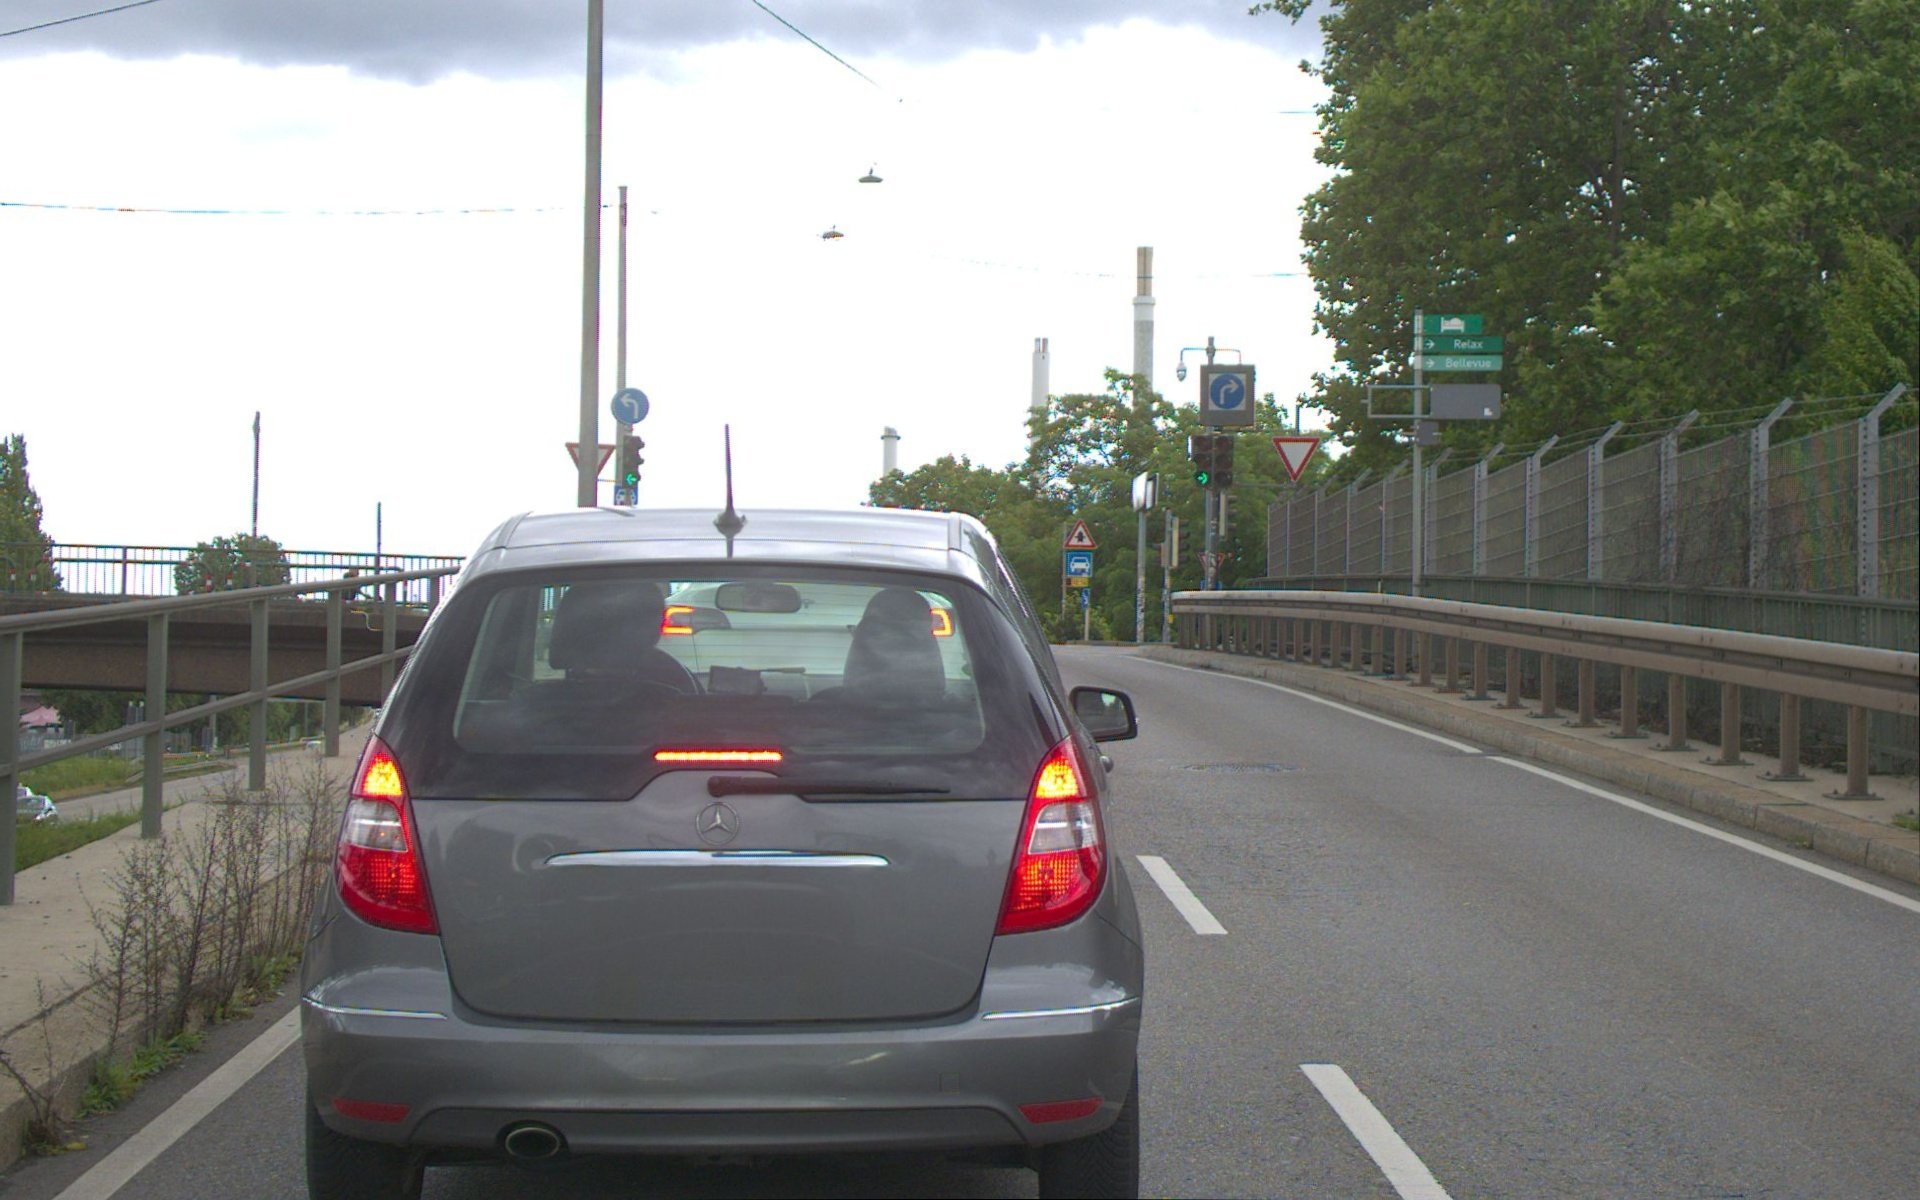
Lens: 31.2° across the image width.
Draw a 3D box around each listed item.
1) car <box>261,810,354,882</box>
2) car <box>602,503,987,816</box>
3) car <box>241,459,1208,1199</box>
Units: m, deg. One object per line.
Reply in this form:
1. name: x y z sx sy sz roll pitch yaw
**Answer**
1. car: -17.075 6.420 90.086 1.681 1.730 3.998 0 -2 0
2. car: -0.889 0.253 19.821 1.993 1.597 4.001 0 2 -1
3. car: -0.315 0.535 8.607 1.750 1.575 4.084 0 0 6
